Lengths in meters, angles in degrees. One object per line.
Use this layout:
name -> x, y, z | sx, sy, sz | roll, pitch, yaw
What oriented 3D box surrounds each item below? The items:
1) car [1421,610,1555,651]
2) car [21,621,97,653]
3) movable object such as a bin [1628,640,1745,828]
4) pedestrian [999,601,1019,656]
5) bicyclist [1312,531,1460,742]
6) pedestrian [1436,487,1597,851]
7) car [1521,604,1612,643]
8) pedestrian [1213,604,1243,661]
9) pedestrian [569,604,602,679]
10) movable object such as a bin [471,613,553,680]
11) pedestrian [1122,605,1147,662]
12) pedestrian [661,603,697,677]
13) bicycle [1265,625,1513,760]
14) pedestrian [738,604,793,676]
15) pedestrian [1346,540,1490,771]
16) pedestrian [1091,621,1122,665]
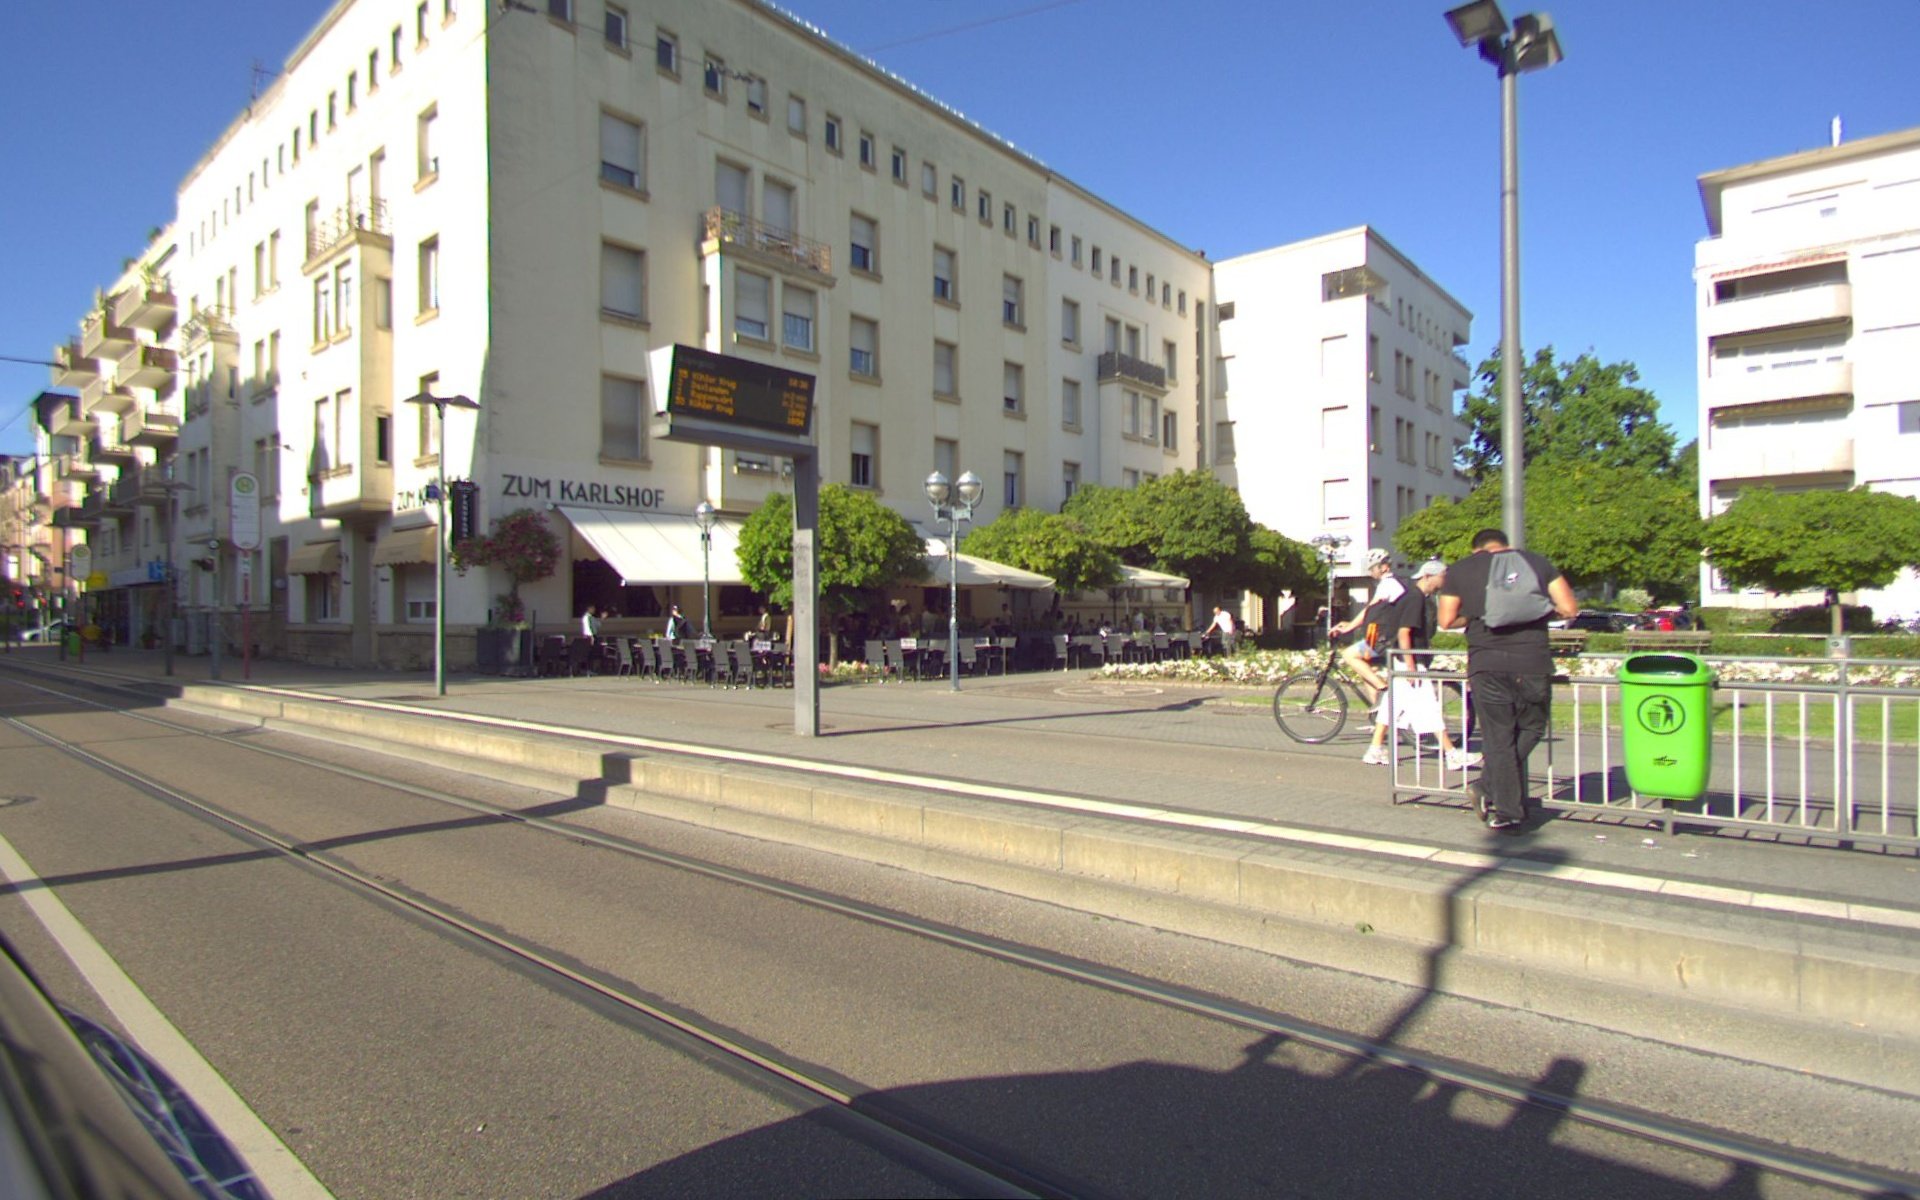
car -> 17.961, 1.009, 34.500 | 3.713, 1.310, 1.973 | -1, -1, 41
car -> -63.127, 2.574, 70.931 | 3.939, 2.133, 1.881 | 0, -1, -42
movable object such as a bin -> 3.597, 0.640, 5.012 | 0.416, 0.866, 0.332 | -2, -2, 44
pedestrian -> 1.676, 0.977, 34.432 | 0.641, 1.837, 0.576 | -1, -1, 5
bicyclist -> 3.962, 0.321, 9.388 | 1.092, 1.807, 0.996 | -1, -1, 33
pedestrian -> 2.869, 0.338, 5.225 | 0.607, 1.731, 0.542 | -1, -3, 43
car -> 24.252, 0.920, 40.488 | 2.932, 1.497, 1.399 | -1, -1, 41
pedestrian -> 8.489, 1.041, 32.090 | 0.710, 1.750, 0.673 | -2, -4, 1
pedestrian -> -8.467, 0.940, 22.868 | 0.662, 1.657, 0.753 | 0, -4, -22
movable object such as a bin -> -9.835, 0.991, 22.238 | 1.127, 1.410, 1.302 | -1, -1, 40
pedestrian -> 5.541, 1.066, 32.108 | 0.677, 1.750, 0.671 | -3, -4, 14
pedestrian -> -6.435, 0.928, 23.199 | 0.663, 1.657, 0.677 | -2, -4, -6
bicycle -> 3.956, 0.804, 9.413 | 2.030, 1.134, 0.706 | -1, -1, 33
pedestrian -> -4.615, 0.929, 24.006 | 0.755, 1.657, 1.054 | -1, -1, 36
pedestrian -> 3.634, 0.425, 8.091 | 0.968, 1.693, 0.988 | -1, -2, 24
pedestrian -> 4.418, 1.296, 30.579 | 0.672, 1.280, 0.636 | -5, -5, 36
